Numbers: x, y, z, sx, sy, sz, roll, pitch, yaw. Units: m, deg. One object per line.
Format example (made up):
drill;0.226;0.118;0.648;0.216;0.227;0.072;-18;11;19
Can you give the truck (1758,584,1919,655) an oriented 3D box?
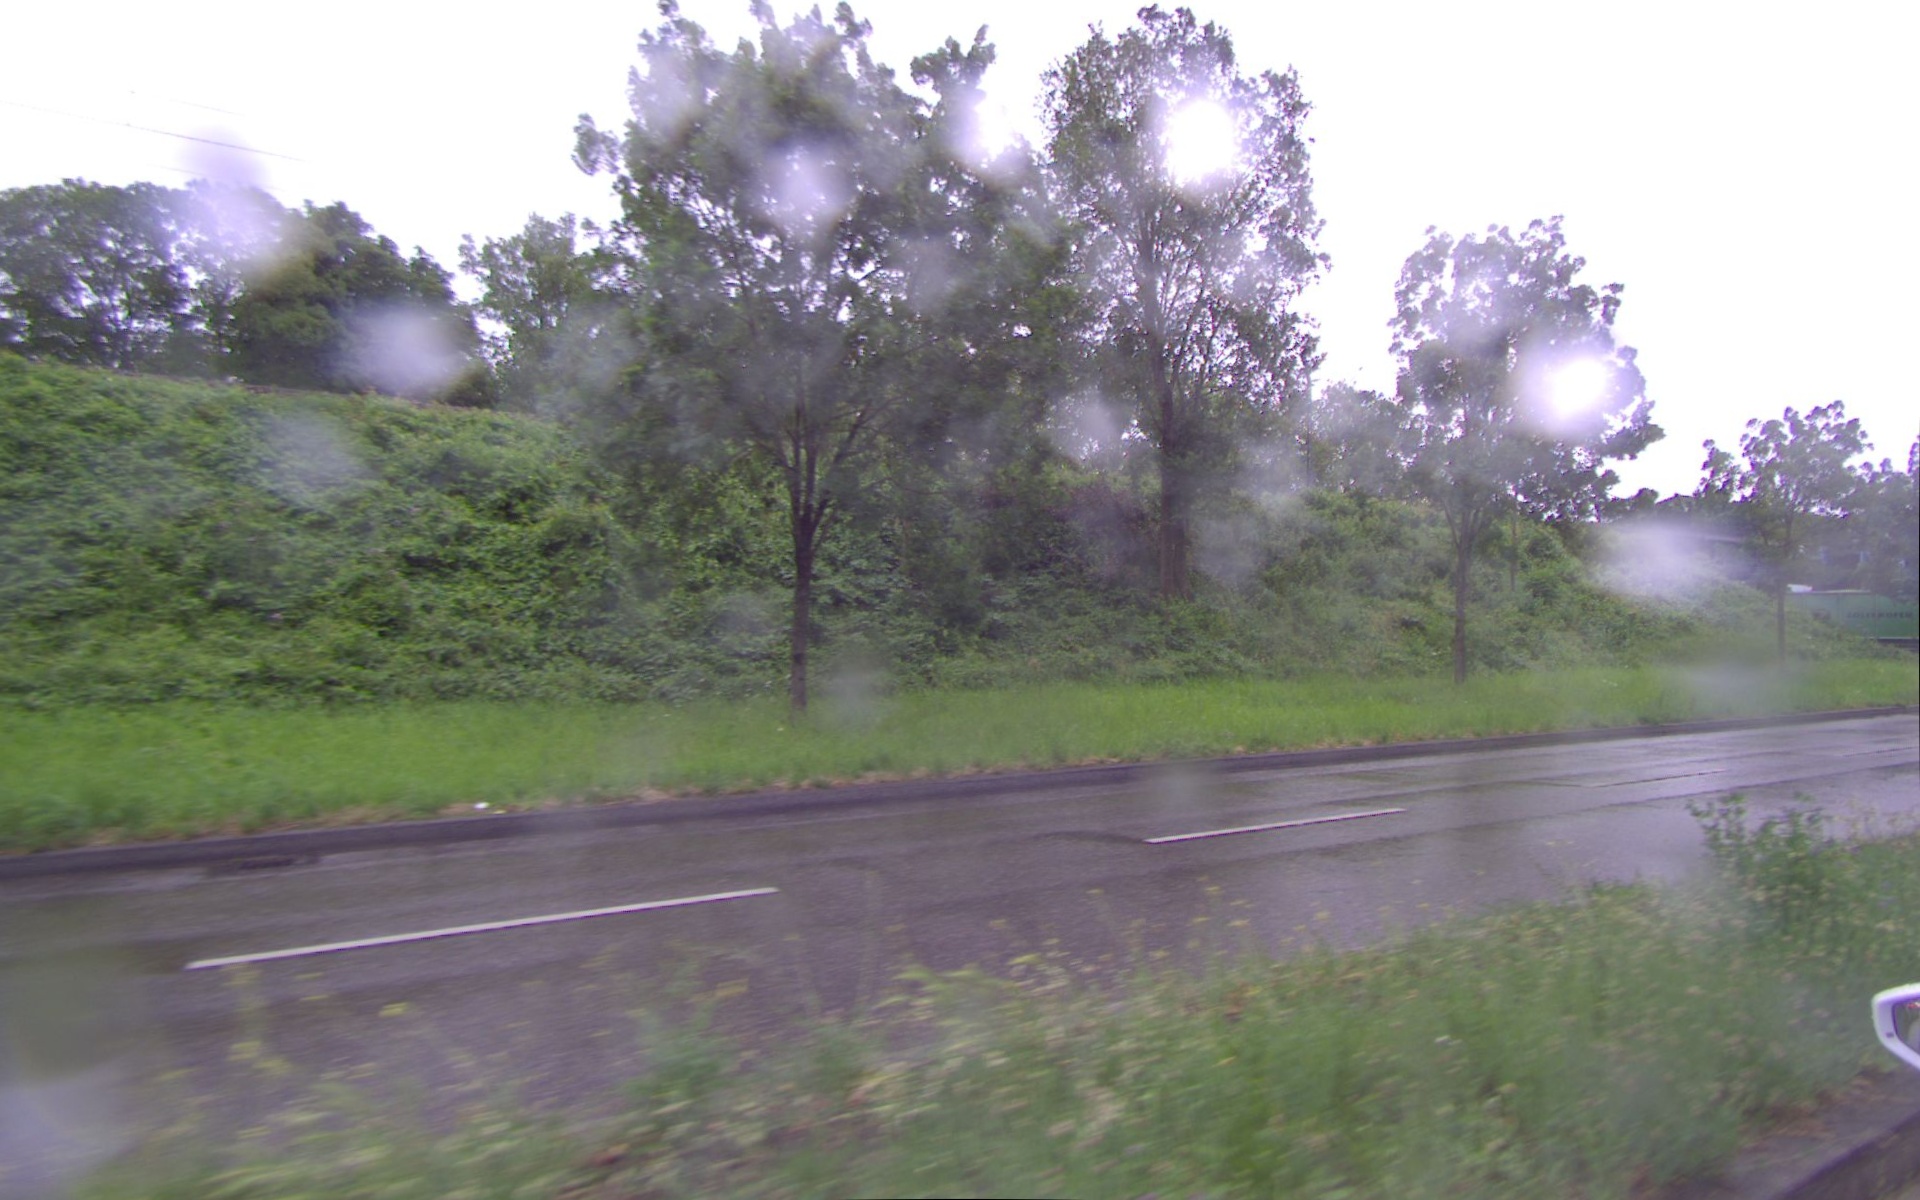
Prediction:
truck;48.686;1.077;52.903;9.949;3.497;2.657;2;-1;25
